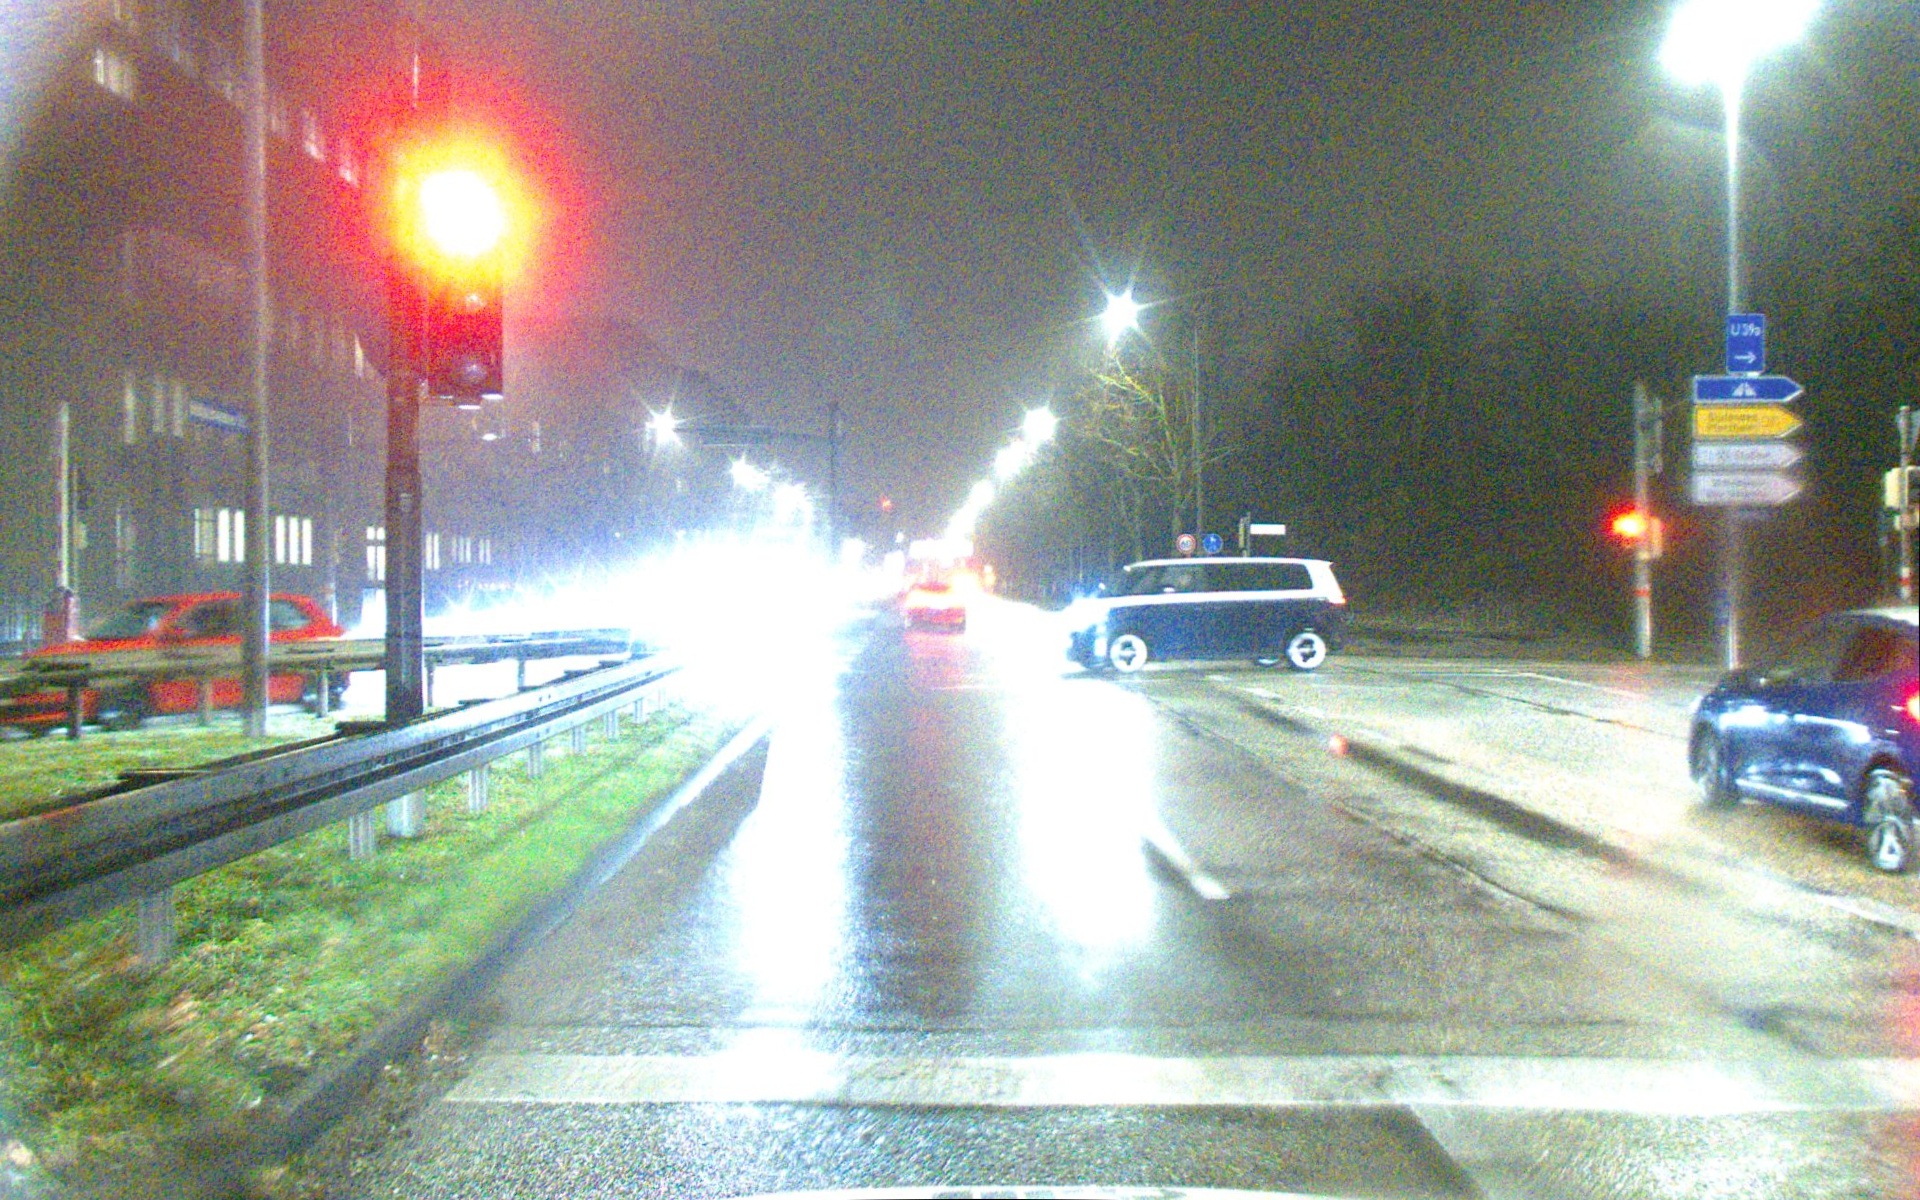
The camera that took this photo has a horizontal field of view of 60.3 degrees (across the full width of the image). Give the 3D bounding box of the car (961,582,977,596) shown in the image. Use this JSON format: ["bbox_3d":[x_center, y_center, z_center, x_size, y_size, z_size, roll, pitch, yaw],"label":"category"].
[{"bbox_3d":[1.152,-1.407,210.737,1.953,1.790,3.999,1,0,-1],"label":"car"}]

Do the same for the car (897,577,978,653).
[{"bbox_3d":[-0.749,0.447,51.115,2.093,2.182,4.923,1,0,-5],"label":"car"}]

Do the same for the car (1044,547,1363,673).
[{"bbox_3d":[4.102,0.139,28.160,5.003,2.019,1.994,0,0,-12],"label":"car"}]

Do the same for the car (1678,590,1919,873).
[{"bbox_3d":[6.000,0.693,10.137,1.713,1.456,3.762,0,1,3],"label":"car"}]

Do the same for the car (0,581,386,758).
[{"bbox_3d":[-8.706,0.679,18.443,1.870,1.615,4.074,-2,1,31],"label":"car"}]
